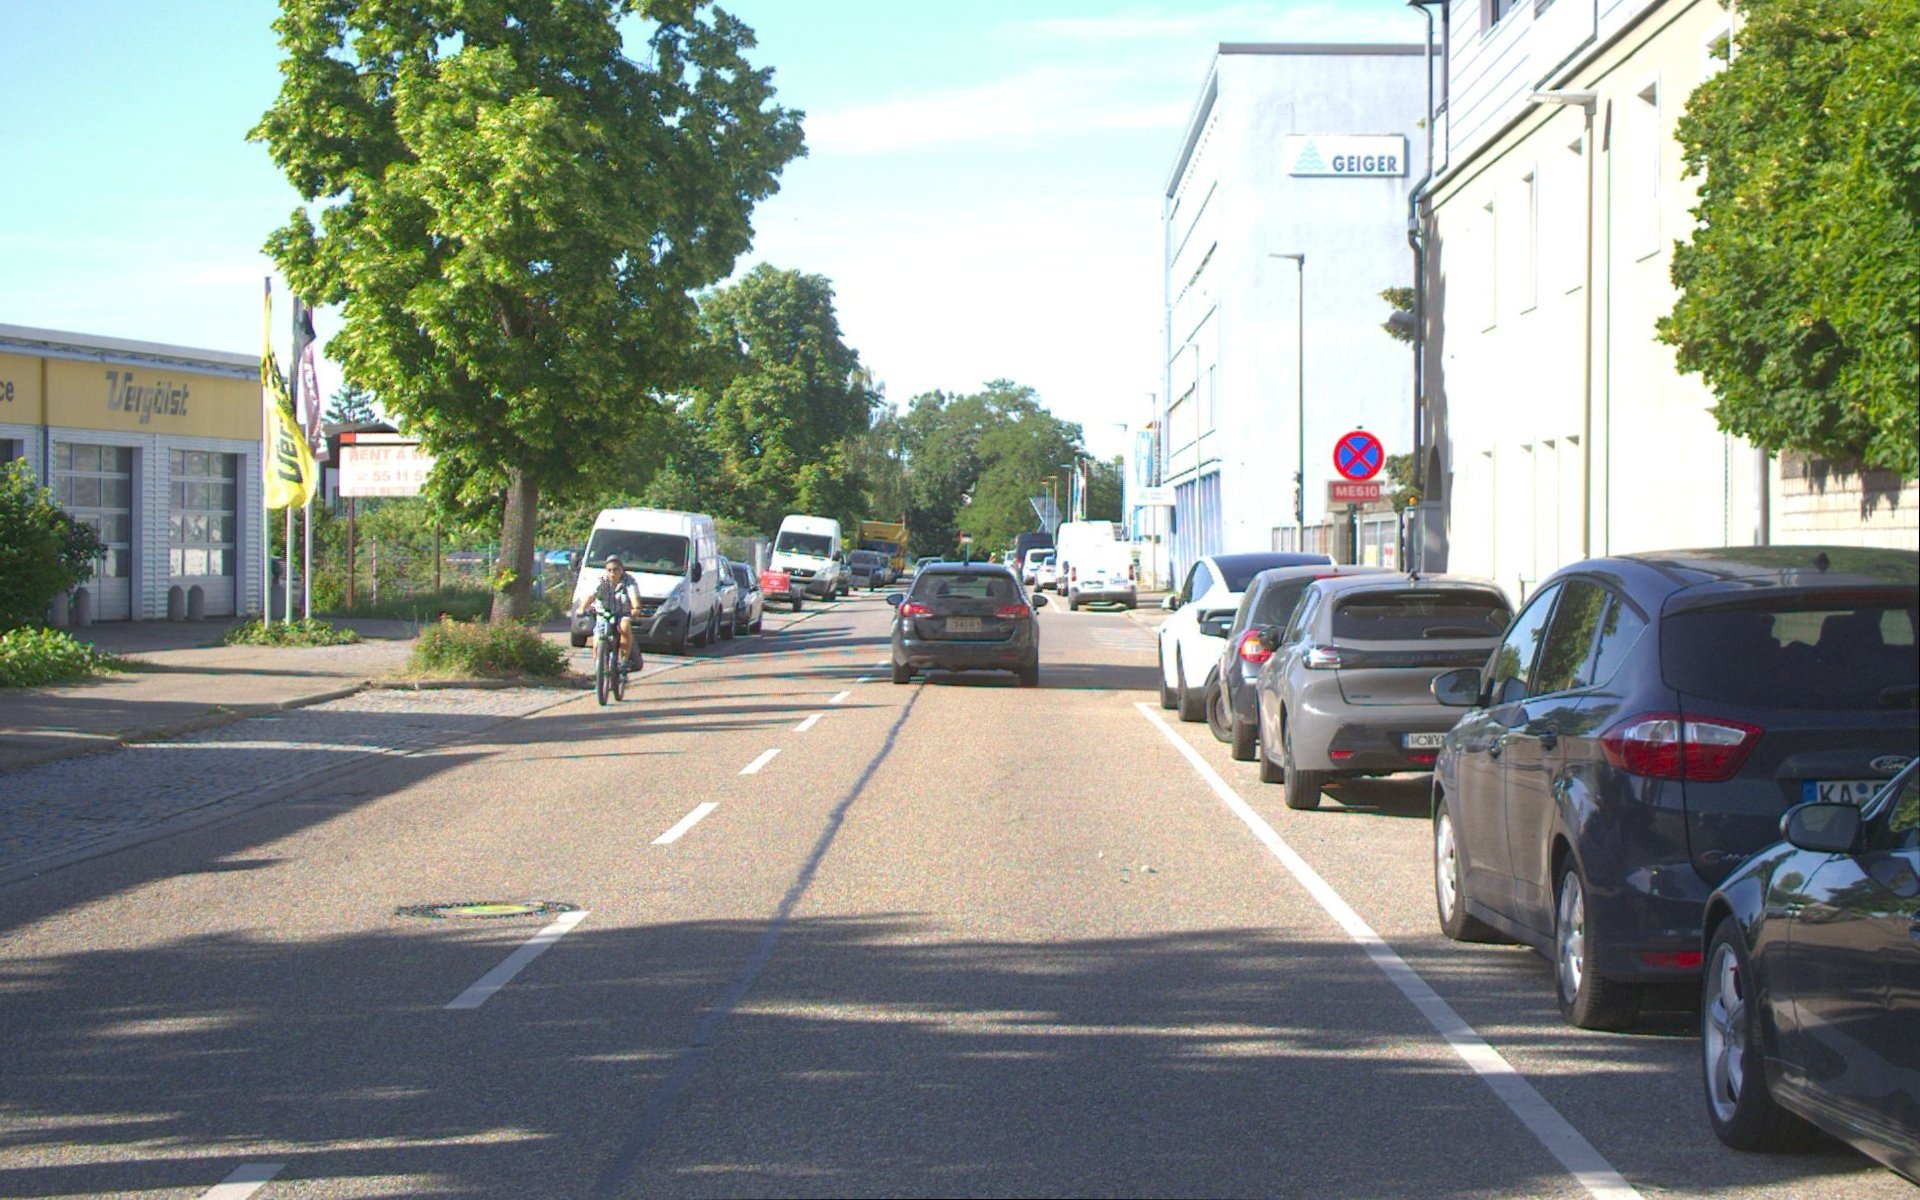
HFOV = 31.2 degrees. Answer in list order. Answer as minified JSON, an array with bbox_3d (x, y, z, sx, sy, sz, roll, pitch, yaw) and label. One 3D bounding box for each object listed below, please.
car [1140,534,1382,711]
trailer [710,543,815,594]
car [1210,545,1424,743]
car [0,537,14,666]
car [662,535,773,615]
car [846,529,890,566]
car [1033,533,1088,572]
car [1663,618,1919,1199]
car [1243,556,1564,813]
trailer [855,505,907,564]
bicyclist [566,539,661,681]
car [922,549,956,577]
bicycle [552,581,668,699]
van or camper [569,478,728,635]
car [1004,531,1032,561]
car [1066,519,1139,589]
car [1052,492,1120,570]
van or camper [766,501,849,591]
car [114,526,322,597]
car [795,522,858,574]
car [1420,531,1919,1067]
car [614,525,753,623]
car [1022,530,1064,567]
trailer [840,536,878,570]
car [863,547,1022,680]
[{"bbox_3d":[2.944,0.165,34.546,1.931,1.639,4.770,0,1,-1],"label":"car"},{"bbox_3d":[-5.242,-0.872,92.077,2.376,1.076,6.246,4,2,0],"label":"trailer"},{"bbox_3d":[2.847,0.299,27.963,1.599,1.468,4.189,0,1,4],"label":"car"},{"bbox_3d":[-13.437,0.010,39.865,4.348,1.503,1.999,1,1,15],"label":"car"},{"bbox_3d":[-5.093,-0.564,72.755,1.800,1.505,5.002,4,1,1],"label":"car"},{"bbox_3d":[-4.352,-2.502,163.585,1.792,1.725,4.802,0,1,2],"label":"car"},{"bbox_3d":[3.820,-1.791,130.785,1.894,1.400,5.124,2,1,0],"label":"car"},{"bbox_3d":[2.791,0.748,7.709,1.654,1.314,4.104,0,1,1],"label":"car"},{"bbox_3d":[2.826,0.481,22.629,1.659,1.500,4.031,0,1,1],"label":"car"},{"bbox_3d":[-4.667,-3.864,204.255,2.991,3.431,8.162,0,1,-1],"label":"trailer"},{"bbox_3d":[-3.867,0.102,38.430,0.839,1.537,1.136,2,0,3],"label":"bicyclist"},{"bbox_3d":[-1.103,-1.951,179.689,1.747,1.442,4.360,0,1,0],"label":"car"},{"bbox_3d":[-3.881,0.420,38.294,0.839,1.235,2.604,2,0,3],"label":"bicycle"},{"bbox_3d":[-5.538,-0.823,61.921,2.070,2.540,6.404,4,1,0],"label":"van or camper"},{"bbox_3d":[4.088,-3.796,241.646,1.874,2.007,5.160,2,0,1],"label":"car"},{"bbox_3d":[3.844,-1.247,93.378,1.889,1.826,5.090,1,1,2],"label":"car"},{"bbox_3d":[4.346,-2.429,119.359,1.993,2.589,6.052,-2,2,-1],"label":"car"},{"bbox_3d":[-4.867,-1.756,110.769,1.966,2.676,5.947,5,1,2],"label":"van or camper"},{"bbox_3d":[-16.652,-0.874,77.219,4.160,1.568,1.915,0,1,11],"label":"car"},{"bbox_3d":[-4.794,-1.882,123.956,2.030,1.688,5.107,4,1,-1],"label":"car"},{"bbox_3d":[2.802,0.578,12.631,1.681,1.608,4.205,2,1,1],"label":"car"},{"bbox_3d":[-5.380,-0.542,67.477,1.994,1.732,4.574,4,1,4],"label":"car"},{"bbox_3d":[4.212,-2.616,175.129,1.886,1.791,5.104,2,0,-1],"label":"car"},{"bbox_3d":[-4.253,-1.984,145.180,1.476,1.349,3.079,2,1,0],"label":"trailer"},{"bbox_3d":[-0.170,0.125,41.977,1.847,1.525,4.000,0,1,1],"label":"car"}]
